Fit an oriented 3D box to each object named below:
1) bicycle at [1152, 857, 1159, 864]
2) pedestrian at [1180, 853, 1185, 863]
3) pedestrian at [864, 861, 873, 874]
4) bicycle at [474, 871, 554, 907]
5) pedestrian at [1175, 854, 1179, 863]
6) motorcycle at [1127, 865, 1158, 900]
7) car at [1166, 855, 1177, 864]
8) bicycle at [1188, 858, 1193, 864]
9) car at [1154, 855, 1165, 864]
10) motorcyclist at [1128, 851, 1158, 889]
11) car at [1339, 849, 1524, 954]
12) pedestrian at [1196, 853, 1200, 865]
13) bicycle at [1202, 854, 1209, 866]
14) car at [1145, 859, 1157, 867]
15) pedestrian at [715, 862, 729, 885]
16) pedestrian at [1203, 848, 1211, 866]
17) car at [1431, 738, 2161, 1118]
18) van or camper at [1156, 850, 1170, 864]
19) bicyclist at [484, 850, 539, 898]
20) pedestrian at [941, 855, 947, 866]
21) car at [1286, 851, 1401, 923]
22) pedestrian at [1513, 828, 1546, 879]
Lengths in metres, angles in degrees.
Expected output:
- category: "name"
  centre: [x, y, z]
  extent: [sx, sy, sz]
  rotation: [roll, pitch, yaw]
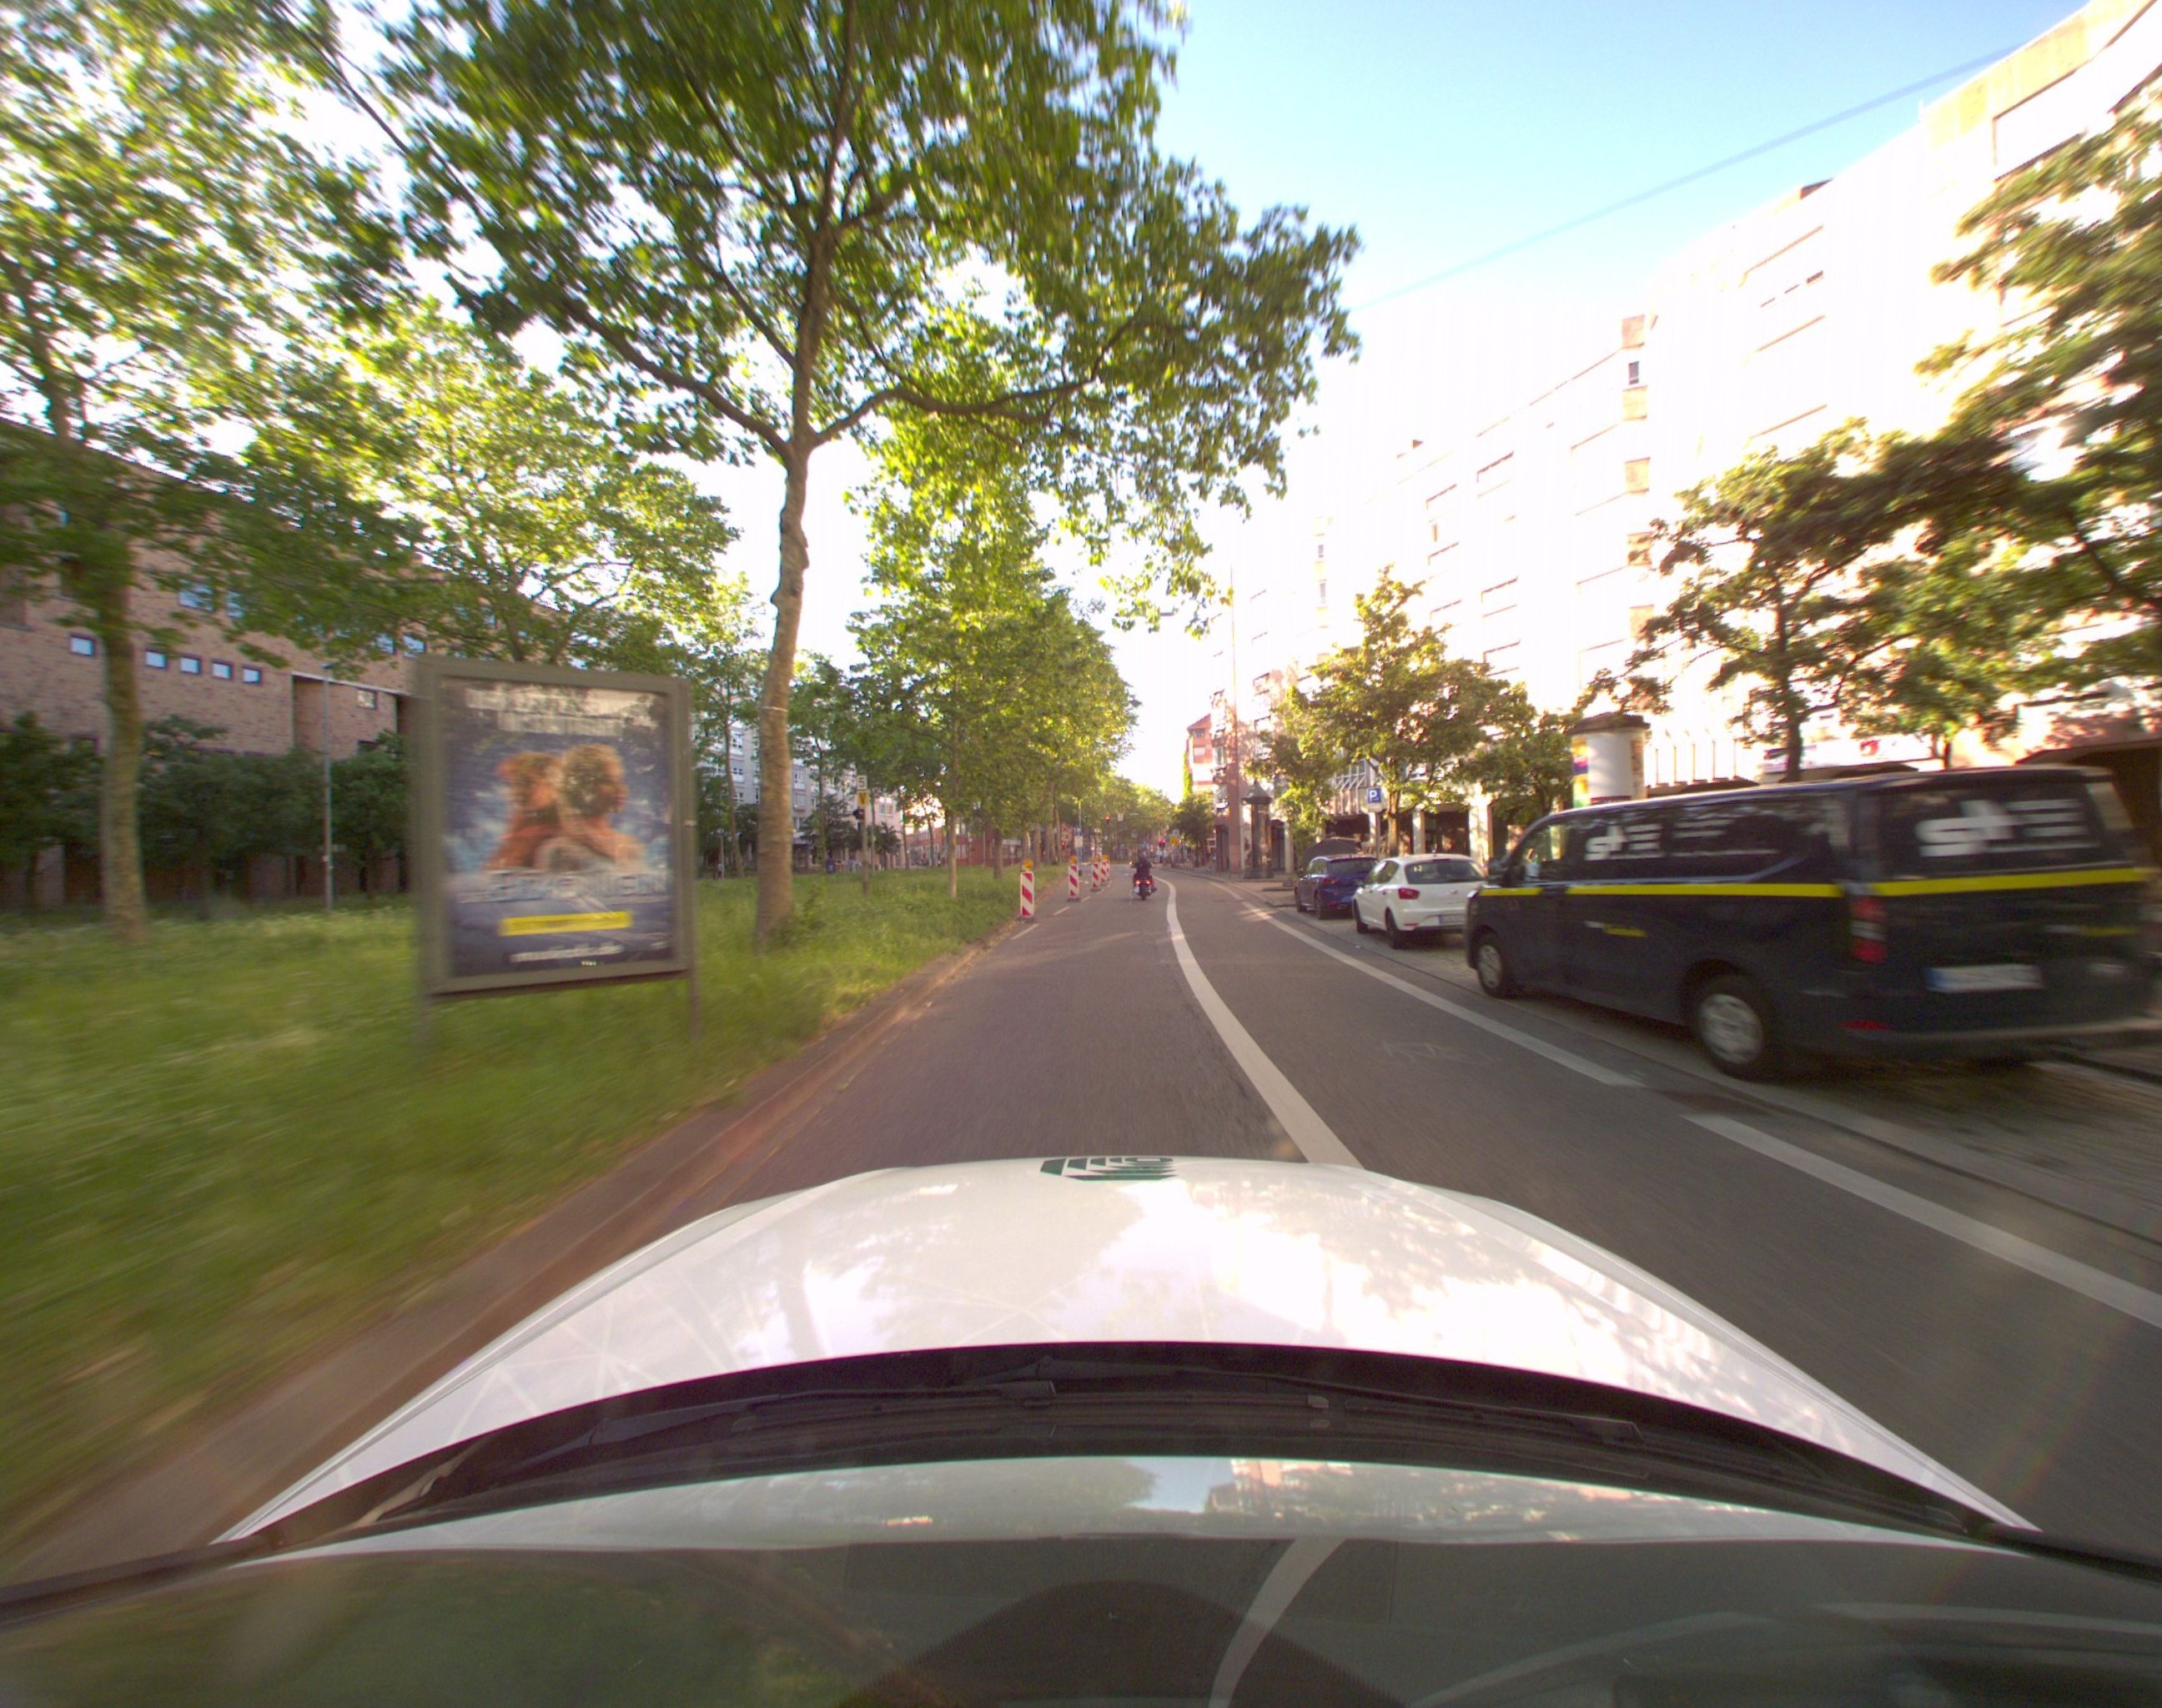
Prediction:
- category: "bicycle"
  centre: [11.976, 1.067, 130.622]
  extent: [0.736, 1.053, 1.747]
  rotation: [-1, 0, -7]
- category: "pedestrian"
  centre: [17.568, 0.661, 141.223]
  extent: [0.697, 1.733, 0.769]
  rotation: [-1, -1, 5]
- category: "pedestrian"
  centre: [-26.294, 1.650, 100.724]
  extent: [0.702, 1.639, 0.791]
  rotation: [-1, 0, 13]
- category: "bicycle"
  centre: [-19.337, 1.169, 27.867]
  extent: [0.953, 1.126, 2.437]
  rotation: [-1, -1, 2]
- category: "pedestrian"
  centre: [16.618, 0.809, 141.318]
  extent: [0.641, 1.578, 0.749]
  rotation: [-1, -1, 5]
- category: "motorcycle"
  centre: [2.093, 0.952, 27.651]
  extent: [1.013, 1.097, 2.010]
  rotation: [-1, 0, 4]
- category: "car"
  centre: [19.073, 1.103, 171.513]
  extent: [1.608, 1.865, 3.789]
  rotation: [-1, -1, 14]
- category: "bicycle"
  centre: [17.475, 1.079, 129.748]
  extent: [0.733, 0.939, 1.755]
  rotation: [-1, 0, 6]
- category: "car"
  centre: [14.209, 1.014, 147.581]
  extent: [1.610, 1.619, 4.499]
  rotation: [-1, -1, 11]
- category: "motorcyclist"
  centre: [2.116, 0.541, 27.811]
  extent: [1.007, 1.263, 0.775]
  rotation: [1, 0, 4]
- category: "car"
  centre: [5.787, 0.699, 14.012]
  extent: [1.694, 1.465, 4.181]
  rotation: [-2, 0, 5]
- category: "pedestrian"
  centre: [15.938, 0.673, 111.005]
  extent: [0.458, 1.672, 0.679]
  rotation: [-1, -1, -3]
- category: "bicycle"
  centre: [13.815, 0.667, 90.336]
  extent: [0.617, 1.226, 1.934]
  rotation: [-1, 0, 14]
- category: "car"
  centre: [11.896, 1.440, 137.947]
  extent: [1.610, 1.302, 4.324]
  rotation: [-1, -1, 10]
- category: "pedestrian"
  centre: [-27.616, 1.485, 62.564]
  extent: [0.725, 1.740, 0.649]
  rotation: [-1, 0, 5]
- category: "pedestrian"
  centre: [12.831, 0.300, 83.044]
  extent: [0.776, 1.738, 0.839]
  rotation: [-1, 0, 10]
- category: "car"
  centre: [5.166, 0.385, 6.979]
  extent: [2.031, 1.943, 5.197]
  rotation: [-3, 0, 0]
- category: "van or camper"
  centre: [15.546, 0.632, 154.127]
  extent: [2.035, 2.540, 5.791]
  rotation: [-1, -1, 12]
- category: "bicyclist"
  centre: [-19.363, 0.661, 27.712]
  extent: [0.937, 1.571, 1.210]
  rotation: [-1, 0, 2]
- category: "pedestrian"
  centre: [-22.974, 1.133, 136.606]
  extent: [0.850, 1.869, 0.754]
  rotation: [-2, -1, 9]
- category: "car"
  centre: [6.231, 0.717, 19.806]
  extent: [1.694, 1.483, 4.254]
  rotation: [-2, 0, 4]
- category: "pedestrian"
  centre: [17.930, -0.009, 32.587]
  extent: [0.813, 1.981, 0.848]
  rotation: [-1, -1, 0]
